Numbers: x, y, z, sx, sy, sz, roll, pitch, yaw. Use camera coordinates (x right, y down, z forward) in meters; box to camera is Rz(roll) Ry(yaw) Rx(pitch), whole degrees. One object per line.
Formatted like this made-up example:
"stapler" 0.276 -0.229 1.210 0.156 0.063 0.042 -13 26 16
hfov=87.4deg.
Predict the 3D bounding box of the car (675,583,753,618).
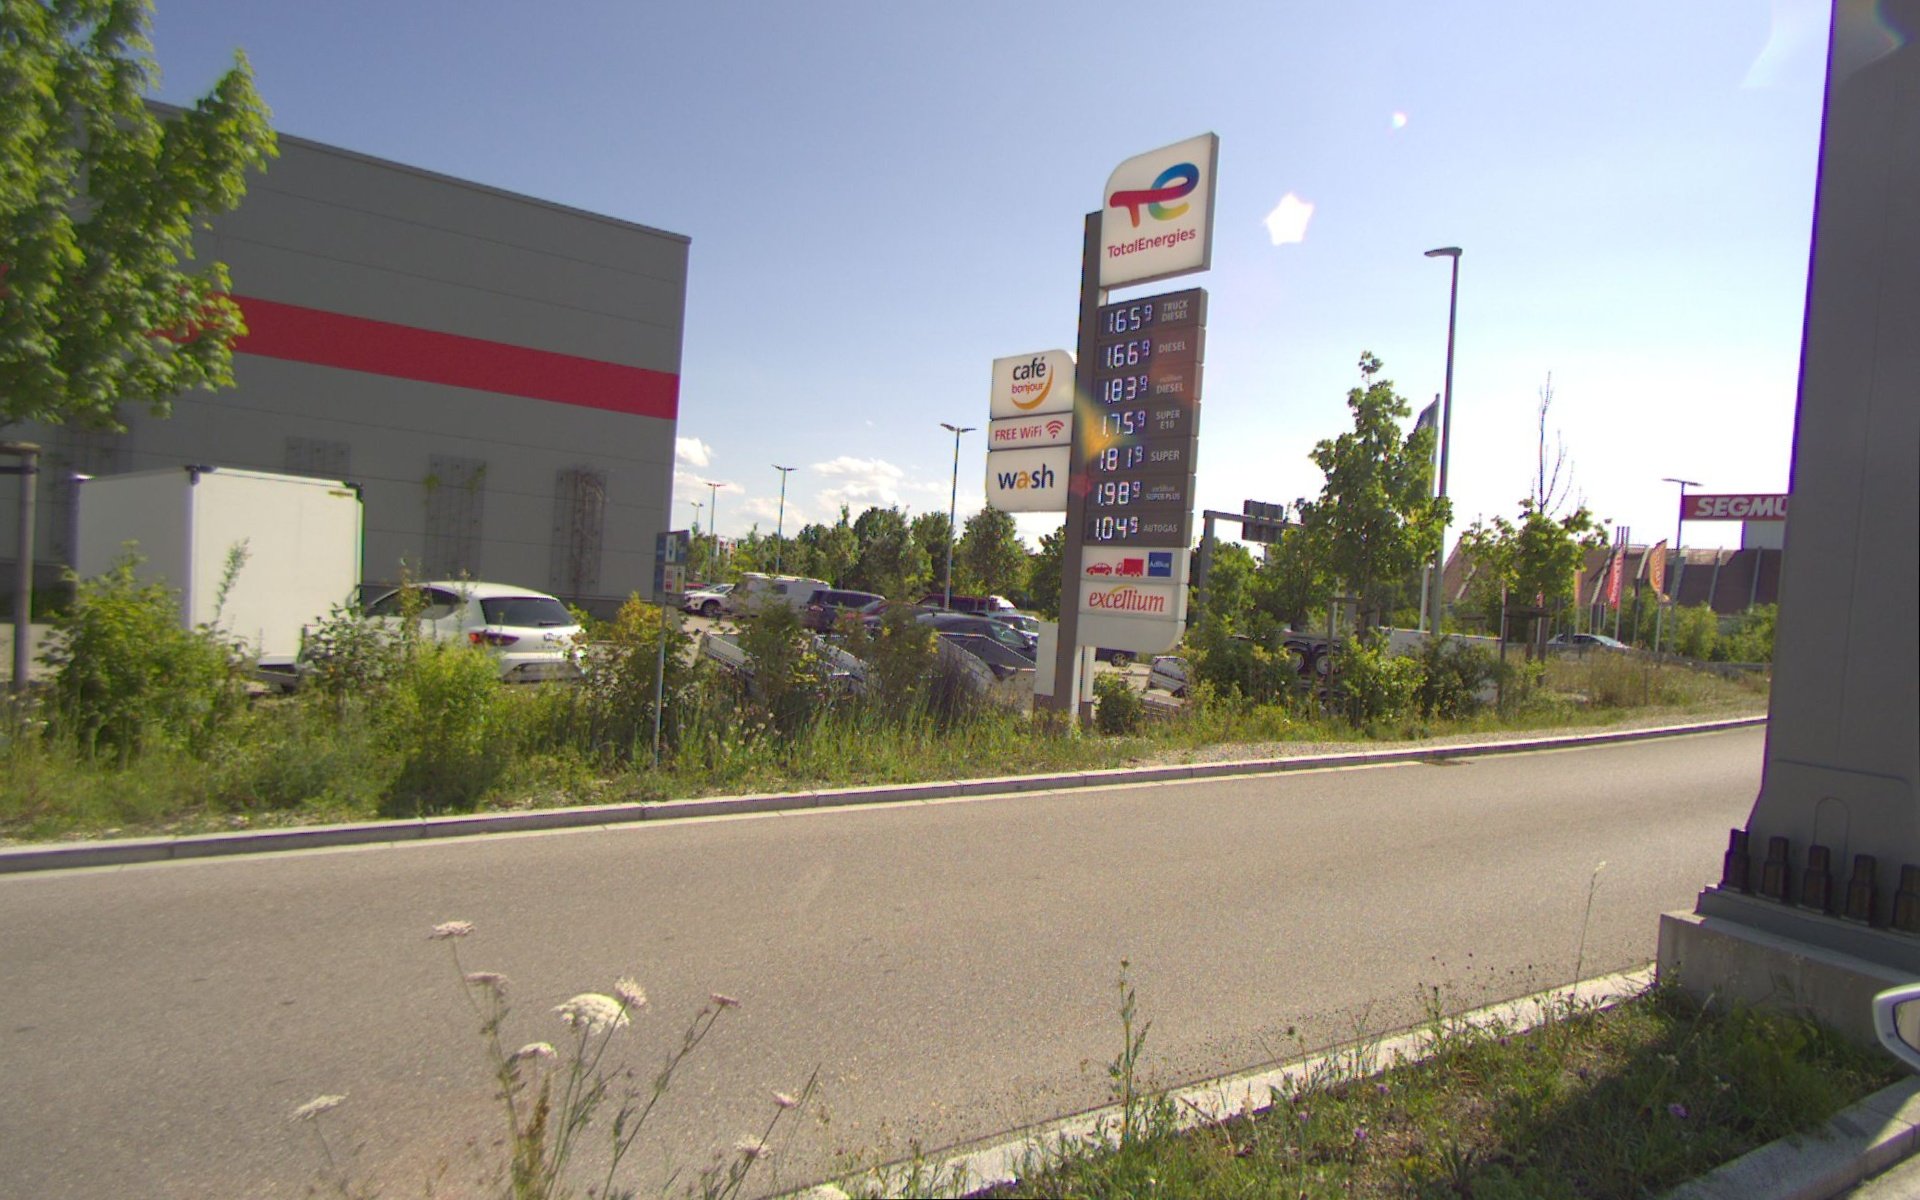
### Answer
"car" -13.347 0.049 54.607 3.705 1.672 1.728 3 1 -33

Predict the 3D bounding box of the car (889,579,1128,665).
"car" 0.998 0.450 20.120 4.440 1.503 1.791 2 1 -27

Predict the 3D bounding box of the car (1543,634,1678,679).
"car" 27.105 2.332 41.994 1.774 1.424 4.372 2 1 -35

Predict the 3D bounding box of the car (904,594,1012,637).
"car" -0.035 0.637 42.340 4.366 1.483 1.826 3 1 4

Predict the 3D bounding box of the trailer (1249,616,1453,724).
"trailer" 8.060 1.360 20.719 3.630 1.795 1.805 4 1 29

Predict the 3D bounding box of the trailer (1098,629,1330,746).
"trailer" 4.570 1.493 18.146 3.630 1.471 1.705 7 3 29

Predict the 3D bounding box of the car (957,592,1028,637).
"car" 2.328 1.033 75.023 2.063 2.960 6.081 2 1 -33

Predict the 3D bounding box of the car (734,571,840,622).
"car" -7.874 -0.145 45.795 4.300 2.040 1.888 3 1 -31

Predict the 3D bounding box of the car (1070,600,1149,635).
"car" 11.619 1.320 78.529 2.025 2.264 6.195 2 2 -42

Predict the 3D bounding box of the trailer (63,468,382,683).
"trailer" -8.186 -0.310 11.124 3.183 2.040 1.744 4 1 32

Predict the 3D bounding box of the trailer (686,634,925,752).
"trailer" -1.949 1.081 12.515 2.728 1.100 1.317 4 1 33

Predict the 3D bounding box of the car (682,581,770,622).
"car" -10.976 0.080 47.117 3.649 1.672 1.731 3 1 -29

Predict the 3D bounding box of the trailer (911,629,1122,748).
"trailer" 0.761 1.205 14.597 1.380 1.340 2.875 2 2 -43

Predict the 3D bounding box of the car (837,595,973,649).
"car" -1.757 0.715 32.275 3.949 1.483 1.812 3 1 -27

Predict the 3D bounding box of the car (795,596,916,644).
"car" -3.782 0.729 36.395 3.949 1.483 1.812 3 1 -27

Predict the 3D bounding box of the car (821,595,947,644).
"car" -2.581 0.673 34.582 3.964 1.483 1.806 3 1 -37

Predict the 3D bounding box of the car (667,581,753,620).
"car" -12.234 0.018 49.259 3.705 1.672 1.728 3 1 -33

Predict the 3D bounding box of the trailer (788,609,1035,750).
"trailer" -0.722 0.984 13.682 3.145 1.503 1.540 4 2 42

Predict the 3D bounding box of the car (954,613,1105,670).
"car" 1.992 1.180 28.499 3.956 1.483 1.809 3 -1 -32

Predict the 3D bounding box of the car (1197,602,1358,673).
"car" 7.957 0.946 25.131 3.700 1.573 1.730 3 1 -30

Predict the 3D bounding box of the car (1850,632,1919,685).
"car" 30.281 1.873 30.790 1.760 1.550 4.280 3 0 -10

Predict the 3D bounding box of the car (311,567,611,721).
"car" -6.510 0.466 12.982 3.932 1.557 1.714 4 1 34

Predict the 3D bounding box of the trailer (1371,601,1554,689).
"trailer" 11.620 0.990 23.345 3.630 1.795 1.805 2 0 29

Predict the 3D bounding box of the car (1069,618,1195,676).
"car" 5.726 1.564 33.879 3.920 1.483 1.826 5 1 4

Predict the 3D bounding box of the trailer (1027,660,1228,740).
"trailer" 2.795 1.603 16.729 2.787 0.893 1.863 4 1 31
